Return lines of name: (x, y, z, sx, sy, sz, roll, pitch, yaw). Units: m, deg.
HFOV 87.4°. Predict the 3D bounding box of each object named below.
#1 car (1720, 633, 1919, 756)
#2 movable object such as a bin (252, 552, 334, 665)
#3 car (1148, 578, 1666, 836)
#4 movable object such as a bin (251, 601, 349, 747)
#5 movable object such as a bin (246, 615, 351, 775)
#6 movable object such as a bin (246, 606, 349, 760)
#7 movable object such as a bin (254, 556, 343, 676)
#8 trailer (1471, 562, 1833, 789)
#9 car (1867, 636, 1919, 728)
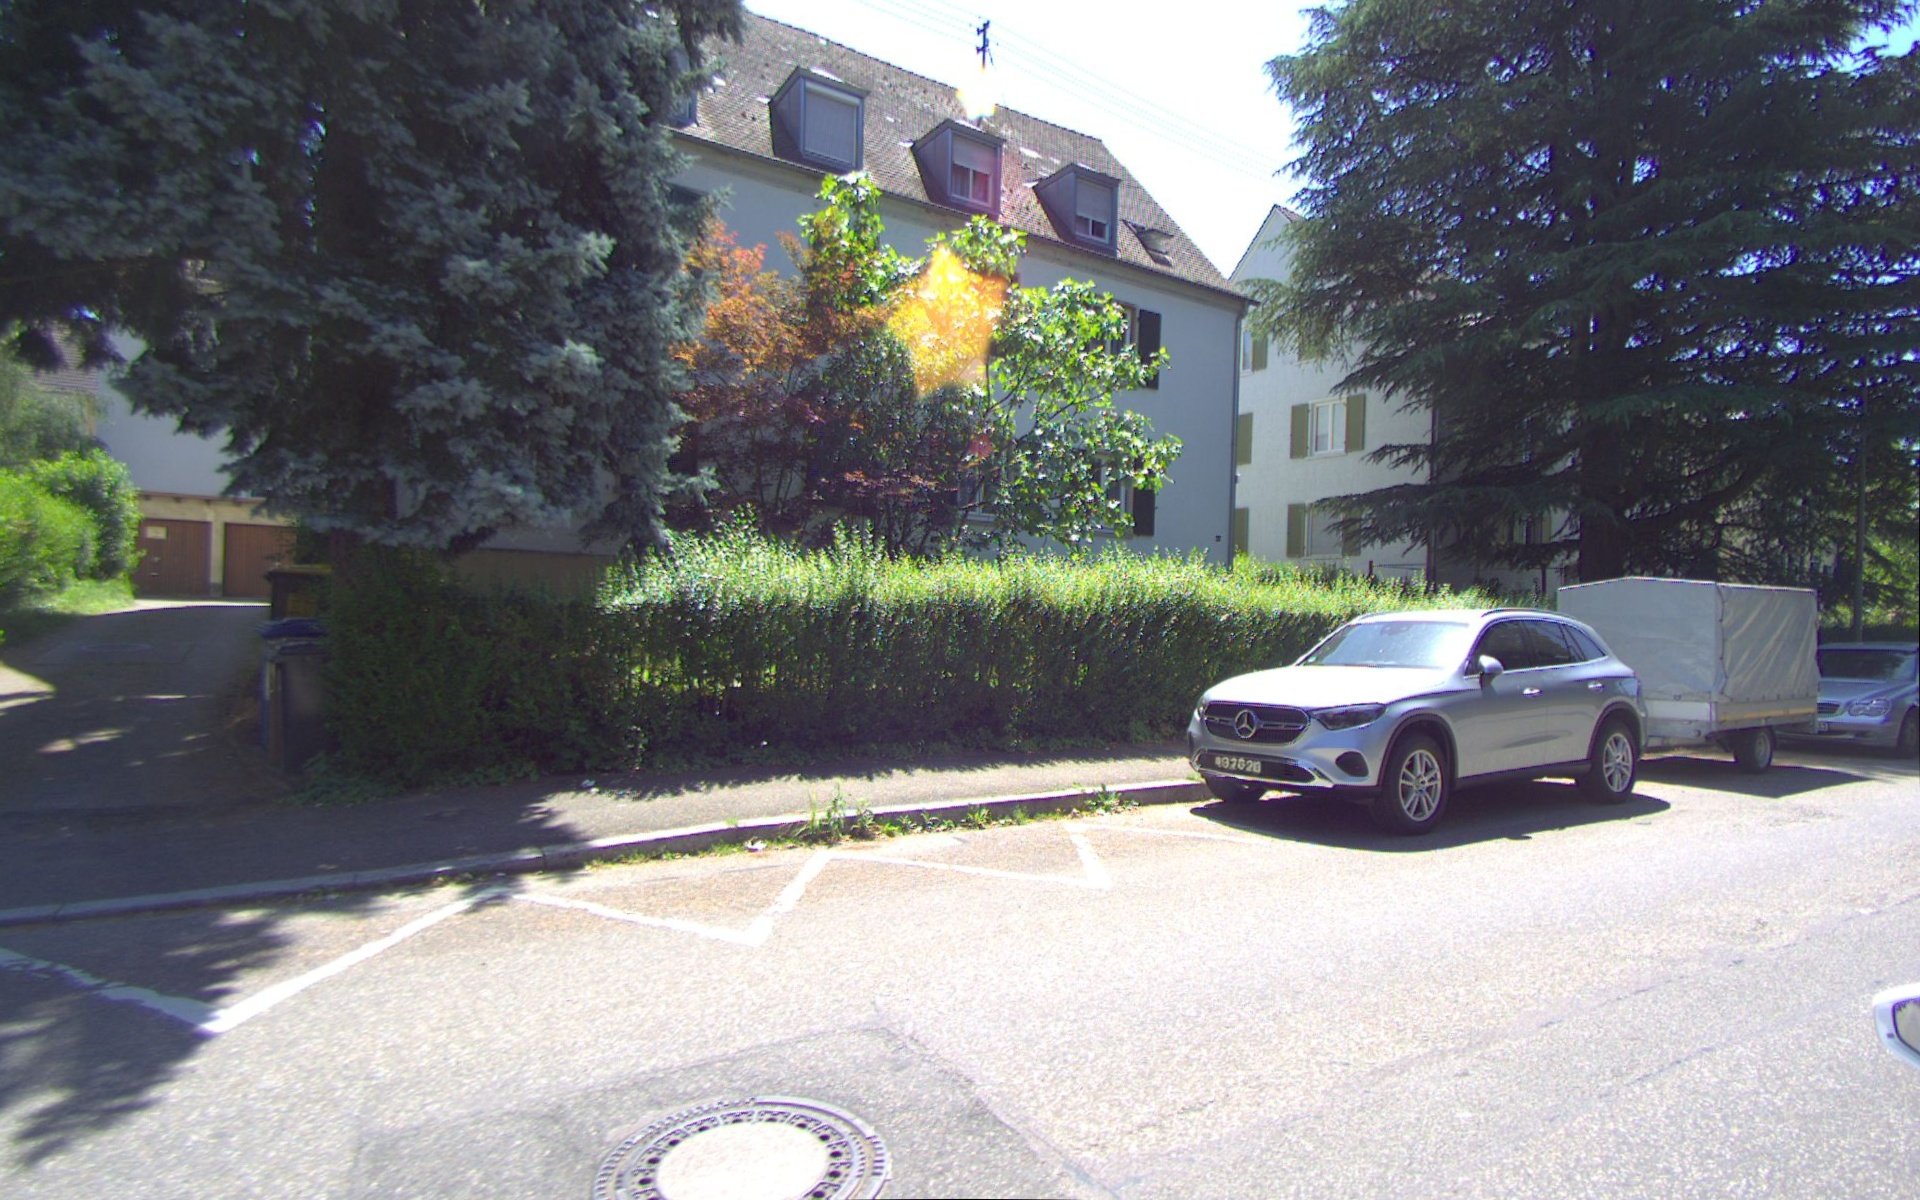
car: (12.451, 1.224, 13.830, 4.272, 1.458, 1.701, 2, -2, -31)
movable object such as a bin: (-7.617, 0.094, 11.491, 0.660, 1.244, 0.555, 2, 2, -23)
car: (3.980, 0.799, 8.656, 4.661, 1.693, 1.840, 2, -2, -33)
movable object such as a bin: (-5.371, 0.586, 8.198, 0.638, 1.097, 0.536, 1, 4, -32)
movable object such as a bin: (-4.827, 0.669, 7.351, 0.610, 1.080, 0.483, 1, 4, -32)
movable object such as a bin: (-5.098, 0.618, 7.751, 0.635, 1.097, 0.483, 1, 4, -32)
movable object such as a bin: (-7.195, 0.166, 10.953, 0.697, 1.244, 0.571, 2, 4, -23)
trailer: (7.667, 0.775, 11.044, 4.118, 2.067, 1.837, 2, -2, -33)
car: (16.659, 1.345, 16.476, 3.838, 1.408, 1.575, 2, -1, -31)
